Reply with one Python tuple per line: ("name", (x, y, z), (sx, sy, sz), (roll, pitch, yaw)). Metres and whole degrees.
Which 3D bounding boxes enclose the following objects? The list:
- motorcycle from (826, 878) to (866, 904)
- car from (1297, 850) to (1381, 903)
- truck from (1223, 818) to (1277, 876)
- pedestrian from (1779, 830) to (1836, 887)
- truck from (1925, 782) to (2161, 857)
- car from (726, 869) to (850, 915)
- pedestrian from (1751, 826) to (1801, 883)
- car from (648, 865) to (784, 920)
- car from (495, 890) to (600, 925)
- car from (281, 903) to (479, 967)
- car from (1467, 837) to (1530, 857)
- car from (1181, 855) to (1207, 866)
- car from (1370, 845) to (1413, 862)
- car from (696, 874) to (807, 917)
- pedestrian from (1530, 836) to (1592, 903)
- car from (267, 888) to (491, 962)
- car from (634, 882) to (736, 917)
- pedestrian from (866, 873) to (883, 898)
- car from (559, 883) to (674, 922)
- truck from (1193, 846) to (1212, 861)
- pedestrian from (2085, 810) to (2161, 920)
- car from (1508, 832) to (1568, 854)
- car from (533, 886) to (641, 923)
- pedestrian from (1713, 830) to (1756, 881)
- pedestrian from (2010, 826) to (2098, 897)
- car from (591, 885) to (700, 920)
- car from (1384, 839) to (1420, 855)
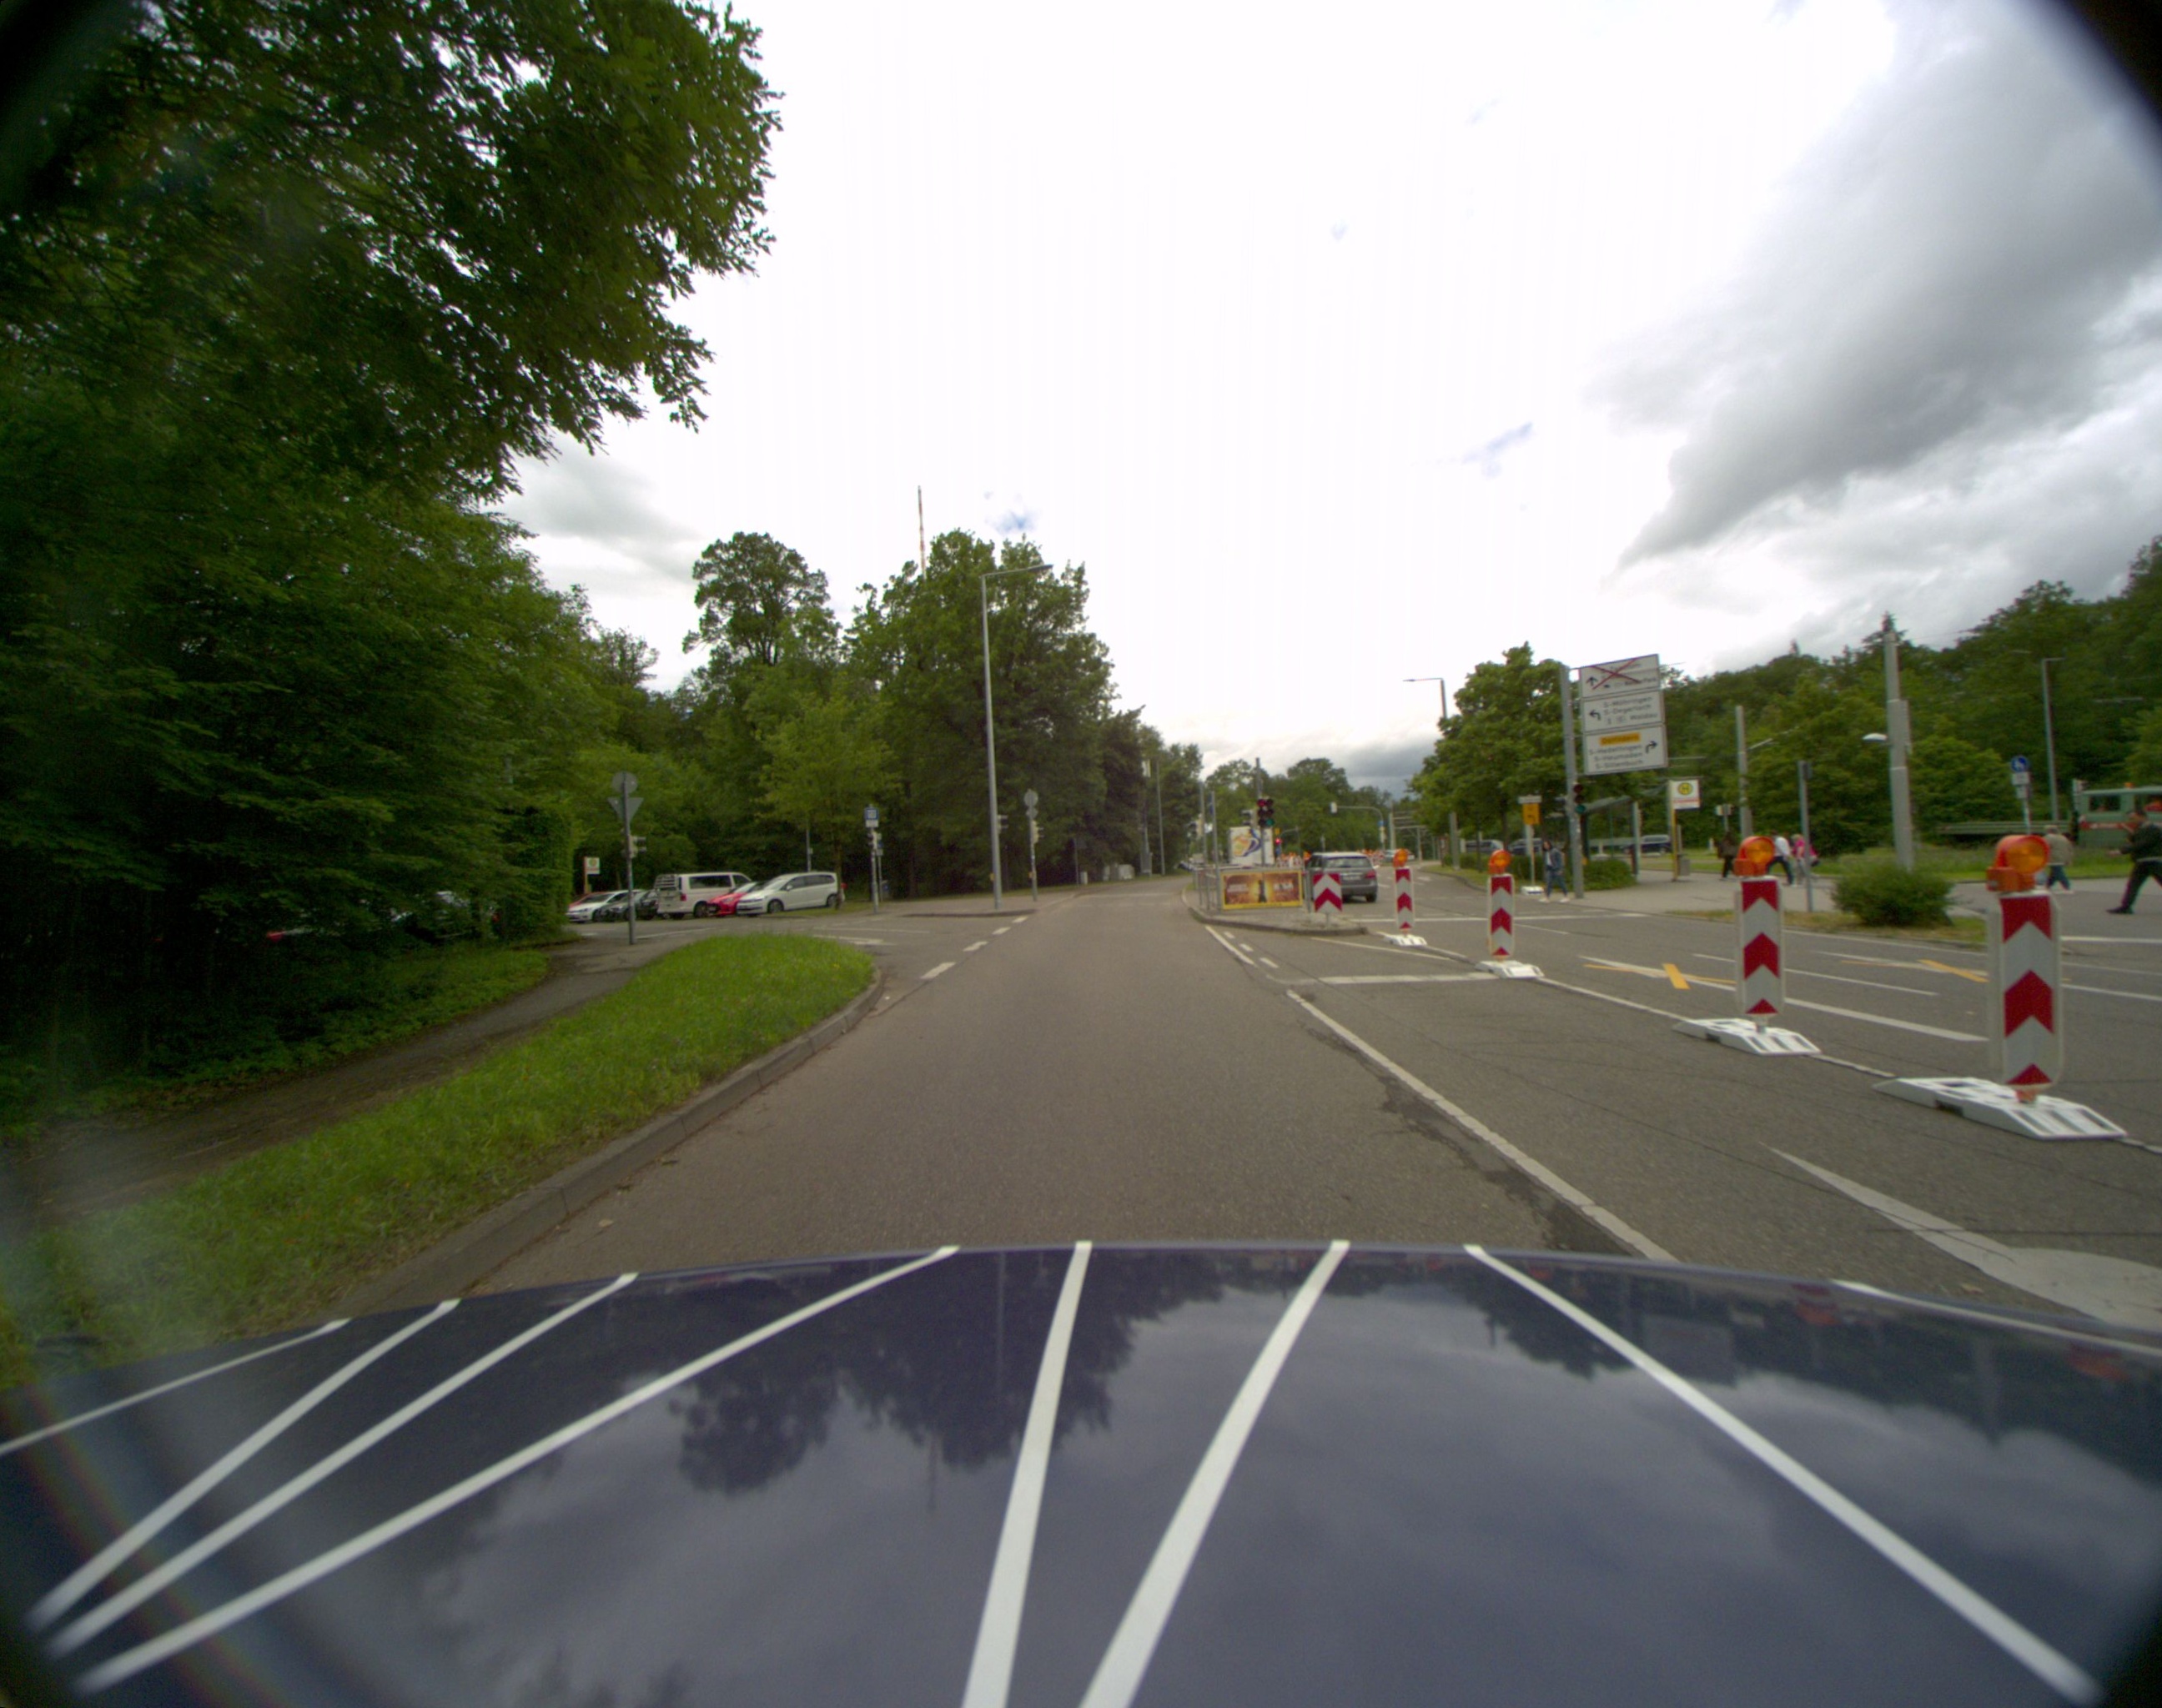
("motorcycle", (-11.952, 1.897, 38.626), (1.953, 1.197, 0.591), (-4, 0, 25))
("car", (8.154, 0.655, 24.364), (1.811, 1.500, 4.310), (-1, 1, 9))
("truck", (10.172, -0.386, 46.206), (2.634, 3.219, 6.210), (-1, 0, 8))
("pedestrian", (20.691, 0.138, 21.647), (0.792, 1.542, 0.775), (-4, 0, -10))
("truck", (33.972, -1.157, 25.942), (2.609, 2.157, 6.294), (-4, -1, -19))
("car", (-12.194, 1.567, 31.911), (1.995, 1.542, 4.429), (-4, -1, 33))
("pedestrian", (21.247, 0.025, 23.247), (0.686, 1.655, 0.869), (-4, 0, -29))
("car", (-16.499, 1.673, 34.650), (2.058, 1.946, 5.191), (-4, 1, 29))
("car", (-27.912, 2.789, 39.854), (1.760, 1.448, 4.075), (-4, -1, 29))
("car", (-20.618, 2.345, 22.558), (1.817, 1.411, 3.854), (-4, -1, 22))
("car", (40.500, -0.623, 73.780), (1.961, 1.578, 4.898), (-4, -1, -38))
("car", (20.144, 1.193, 135.626), (1.883, 1.586, 4.442), (-4, -1, -33))
("car", (34.421, -0.033, 84.321), (1.901, 1.630, 3.974), (-4, -1, -36))
("car", (-14.327, 1.775, 33.252), (1.890, 1.542, 4.007), (-4, -1, 33))
("pedestrian", (12.457, 0.386, 19.741), (1.095, 1.666, 0.909), (-3, 1, -29))
("car", (-22.835, 2.257, 24.990), (1.995, 1.867, 4.958), (-4, -1, 28))
("car", (-18.725, 2.112, 36.067), (1.717, 1.320, 3.942), (-4, -1, 27))
("pedestrian", (-14.473, 2.214, 53.231), (0.833, 1.641, 1.035), (-4, 0, -4))
("car", (-23.099, 2.388, 37.985), (1.839, 1.548, 4.540), (-4, -1, 26))
("truck", (27.738, -0.093, 173.305), (2.743, 3.192, 6.682), (-4, -1, 20))
("pedestrian", (17.971, 0.175, 12.861), (0.992, 1.798, 0.768), (-4, 0, 43))
("car", (46.916, -1.119, 78.134), (2.003, 1.805, 4.824), (-4, -1, -31))
("car", (-25.422, 2.586, 39.249), (1.815, 1.486, 4.207), (-4, -1, 29))
("pedestrian", (20.777, 0.041, 24.160), (0.775, 1.537, 0.629), (-4, 1, 11))
("pedestrian", (21.859, 0.164, 17.088), (0.767, 1.516, 0.875), (-4, 0, -2))
("car", (-20.981, 2.307, 36.768), (1.815, 1.317, 4.136), (-4, -1, 29))
("car", (39.320, -0.827, 93.200), (1.861, 1.712, 3.786), (-4, -1, -24))
